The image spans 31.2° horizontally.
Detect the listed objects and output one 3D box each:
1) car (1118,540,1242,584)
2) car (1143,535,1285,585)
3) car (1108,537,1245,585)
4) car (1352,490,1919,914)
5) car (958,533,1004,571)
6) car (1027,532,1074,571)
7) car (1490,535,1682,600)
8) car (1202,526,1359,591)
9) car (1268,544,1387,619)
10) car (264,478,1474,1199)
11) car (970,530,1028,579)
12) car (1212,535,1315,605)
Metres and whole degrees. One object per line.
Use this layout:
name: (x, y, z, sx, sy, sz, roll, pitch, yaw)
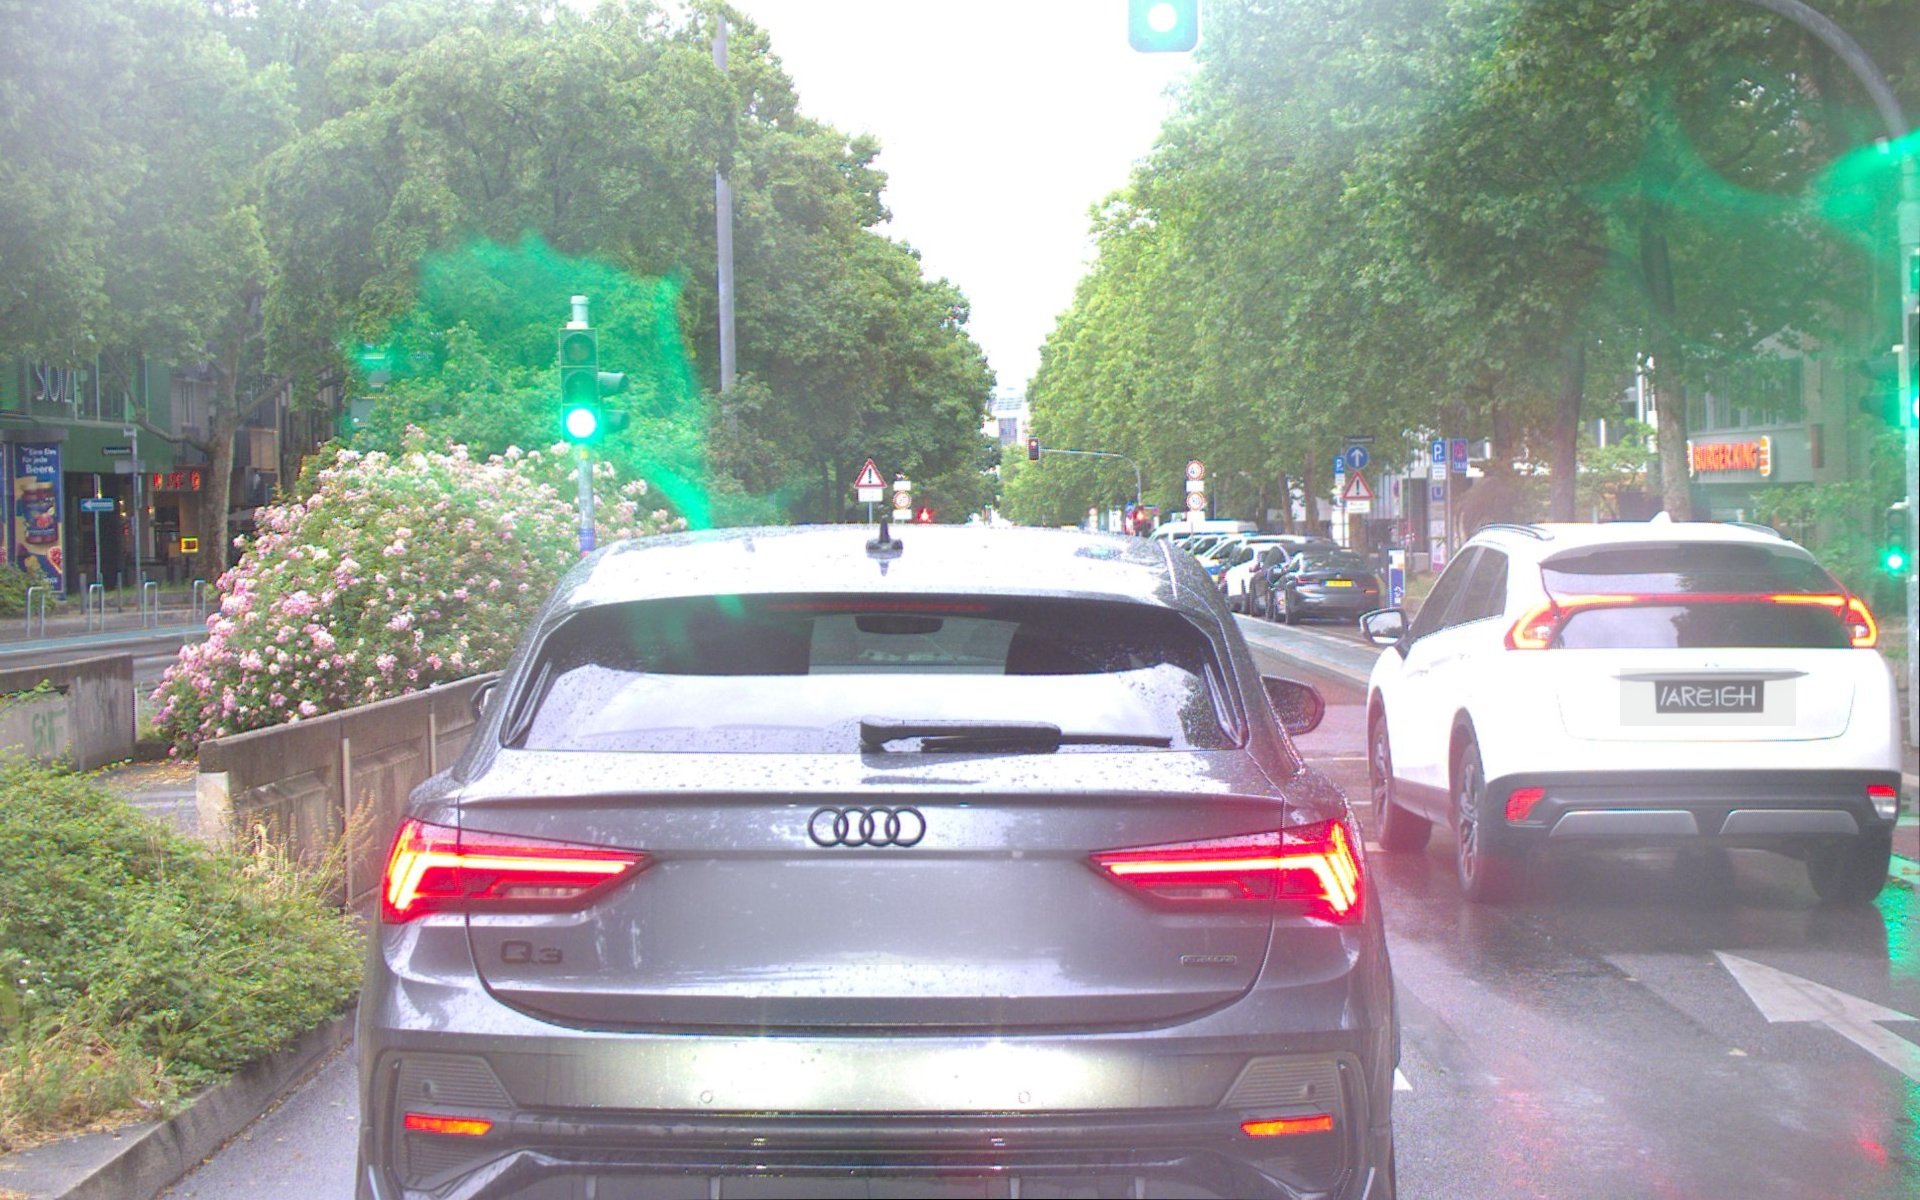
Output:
car: (8.994, -1.549, 140.603, 4.646, 1.700, 1.997, 1, 0, 28)
car: (9.133, -1.441, 123.706, 4.646, 1.700, 1.997, 1, 0, 28)
car: (8.033, -1.454, 127.509, 4.646, 1.700, 1.997, 1, 0, 28)
car: (2.985, 0.401, 15.915, 1.878, 1.691, 4.000, 1, 0, 0)
car: (0.891, -2.071, 149.018, 1.896, 1.593, 3.939, 1, 0, -1)
car: (3.950, -2.108, 151.061, 1.993, 1.645, 4.000, 1, 0, 1)
car: (10.712, -0.554, 58.827, 2.889, 1.071, 1.453, 1, 0, 32)
car: (10.134, -1.320, 108.978, 4.602, 2.007, 1.964, 1, 0, 39)
car: (7.264, -0.386, 68.307, 1.873, 1.416, 4.611, 1, 1, 0)
car: (-0.163, 0.582, 7.264, 1.849, 1.596, 4.000, 0, 1, -1)
car: (1.386, -1.621, 123.753, 1.993, 1.721, 4.000, 1, 0, 0)
car: (6.971, -0.690, 79.363, 1.727, 1.566, 4.074, 1, 0, -4)
